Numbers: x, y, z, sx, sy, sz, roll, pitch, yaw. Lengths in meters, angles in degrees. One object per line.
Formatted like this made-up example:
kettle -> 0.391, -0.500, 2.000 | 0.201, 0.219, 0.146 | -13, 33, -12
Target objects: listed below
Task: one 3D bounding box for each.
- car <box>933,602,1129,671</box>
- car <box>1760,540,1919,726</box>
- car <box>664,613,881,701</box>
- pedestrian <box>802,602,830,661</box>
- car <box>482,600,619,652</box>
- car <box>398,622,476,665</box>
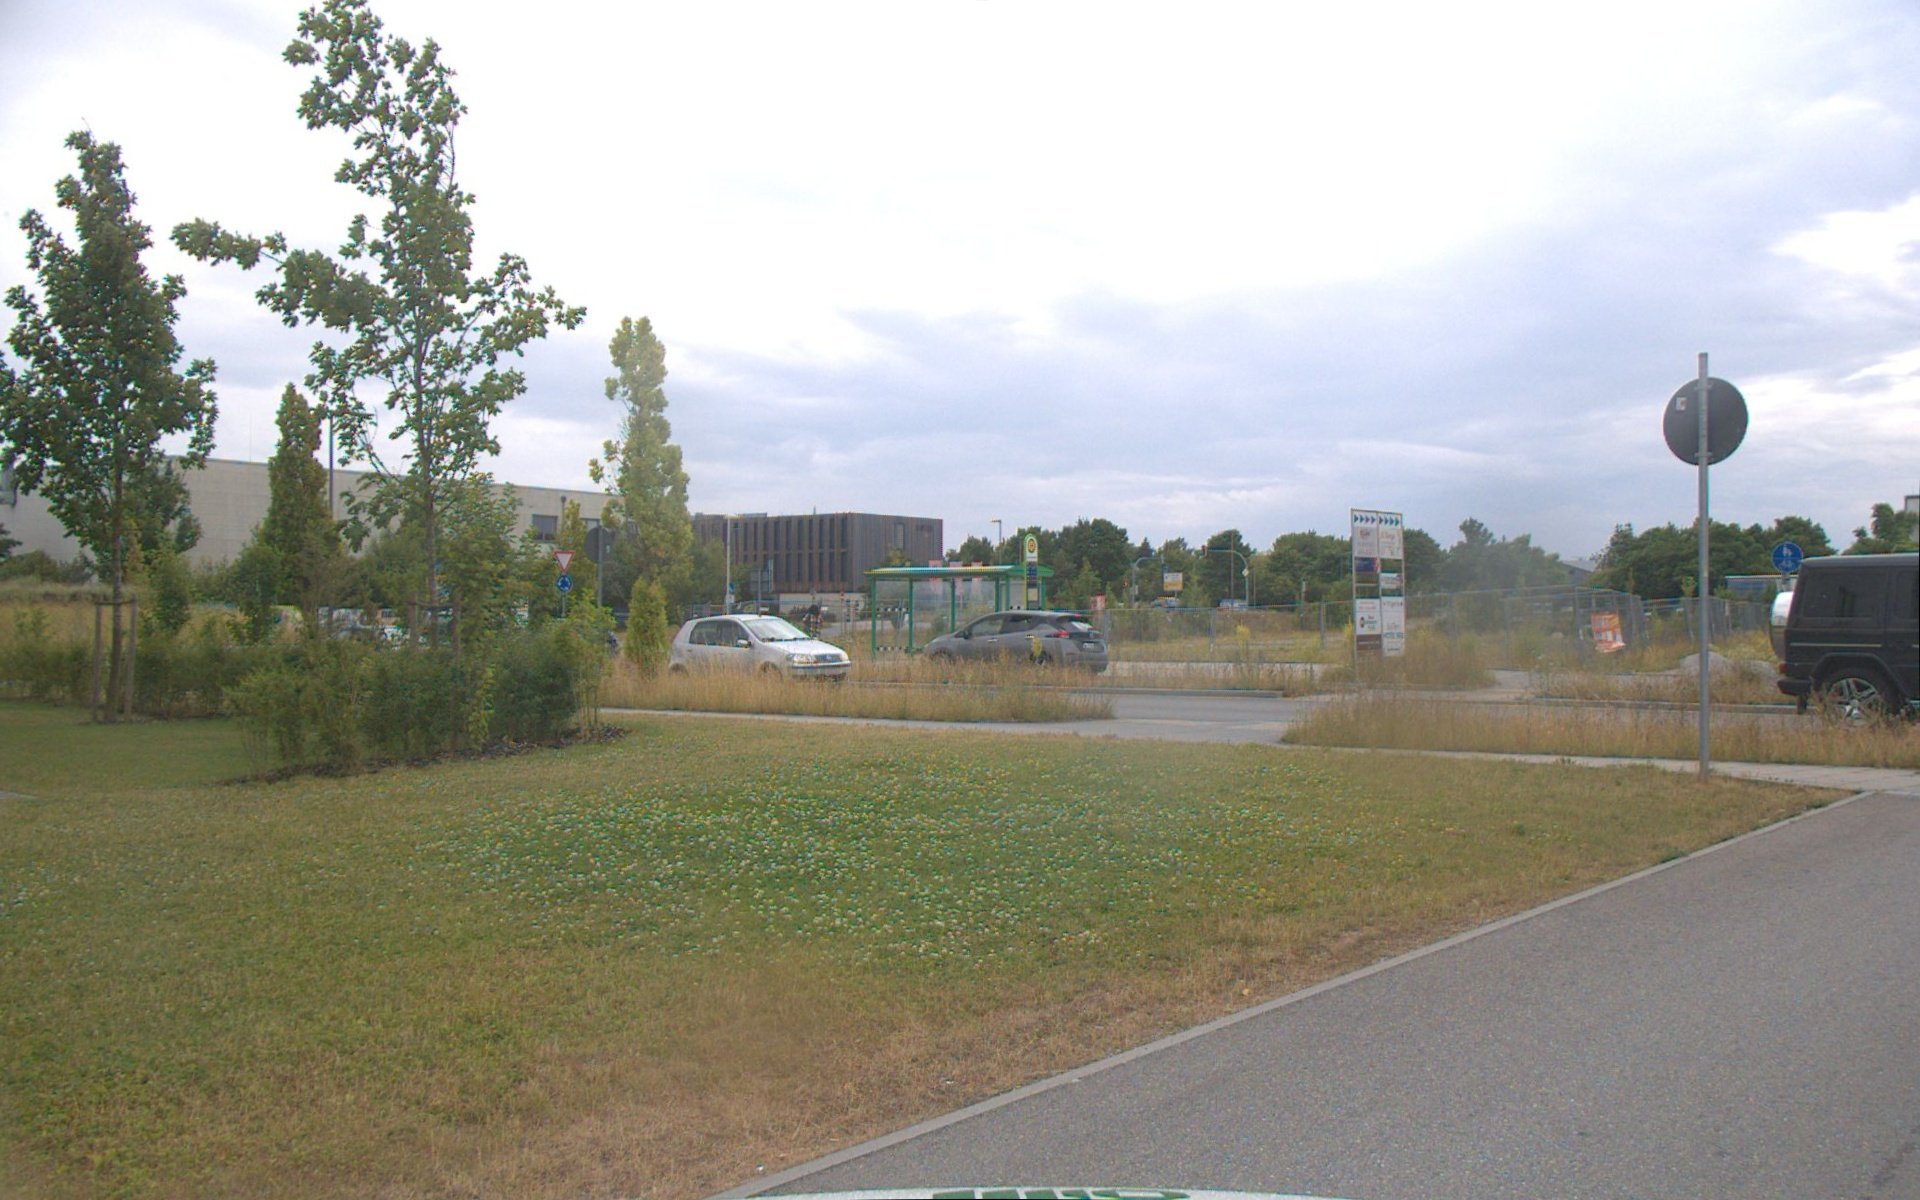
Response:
car -> 1.480, 0.744, 35.334 | 3.987, 1.366, 1.710 | 0, 0, 39
car -> 11.324, 0.350, 17.546 | 4.766, 1.957, 1.986 | 1, 1, 44
car -> -3.414, 0.993, 29.910 | 3.742, 1.486, 1.793 | -1, -1, 38
pedestrian -> -4.309, 0.946, 49.490 | 0.729, 1.752, 0.648 | 1, -1, -15
car -> -11.357, 0.696, 45.769 | 3.888, 1.366, 1.710 | 0, 0, 39
car -> -17.958, 1.457, 56.690 | 1.696, 1.366, 3.921 | 0, 0, -31
